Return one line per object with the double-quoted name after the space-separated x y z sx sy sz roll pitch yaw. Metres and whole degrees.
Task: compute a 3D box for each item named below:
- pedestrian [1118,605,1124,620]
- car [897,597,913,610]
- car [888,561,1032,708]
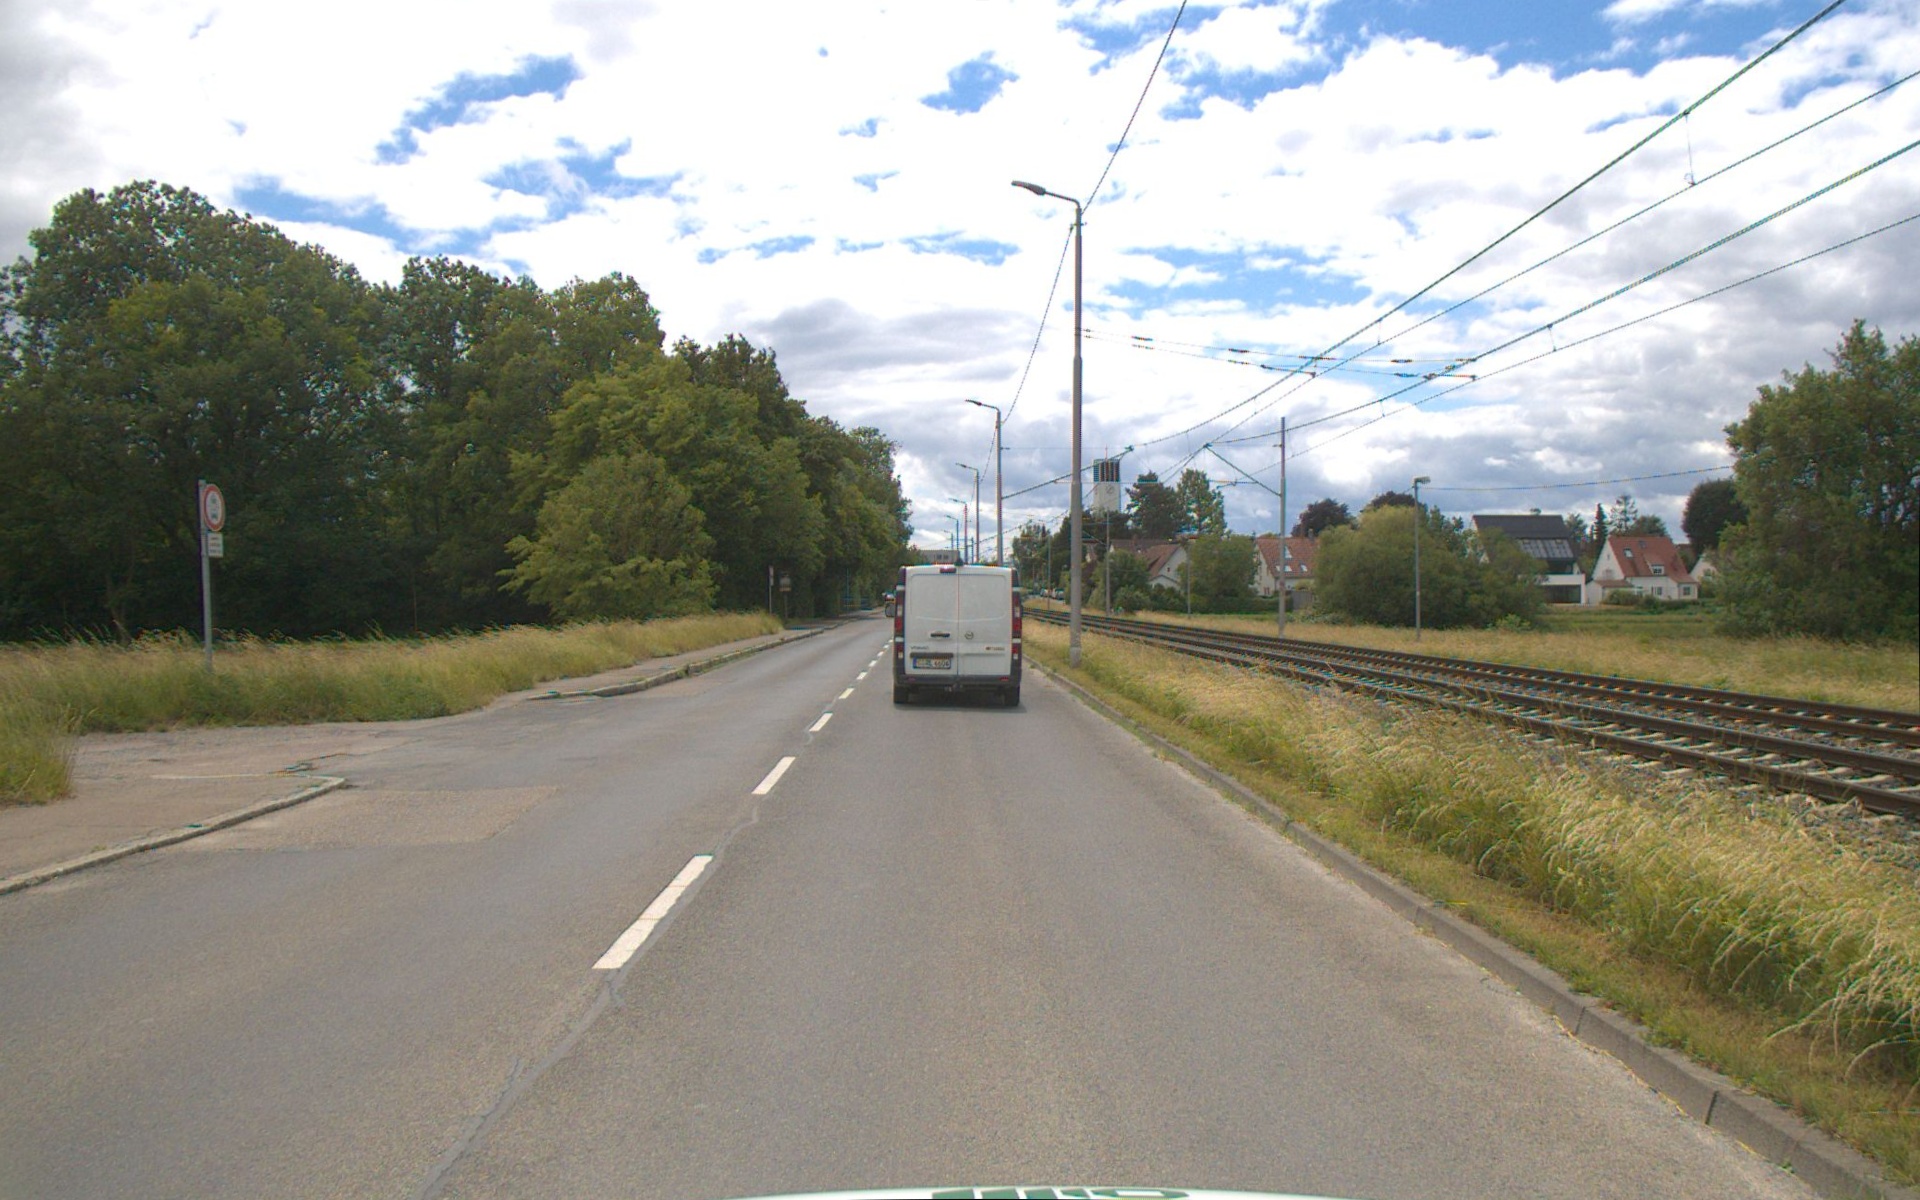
16.142 1.233 165.626 0.515 1.532 0.656 0 0 -2 "pedestrian"
-7.285 0.464 219.872 1.953 1.747 4.123 0 0 -1 "car"
-0.073 0.484 24.607 1.953 1.991 3.998 1 0 -2 "car"
